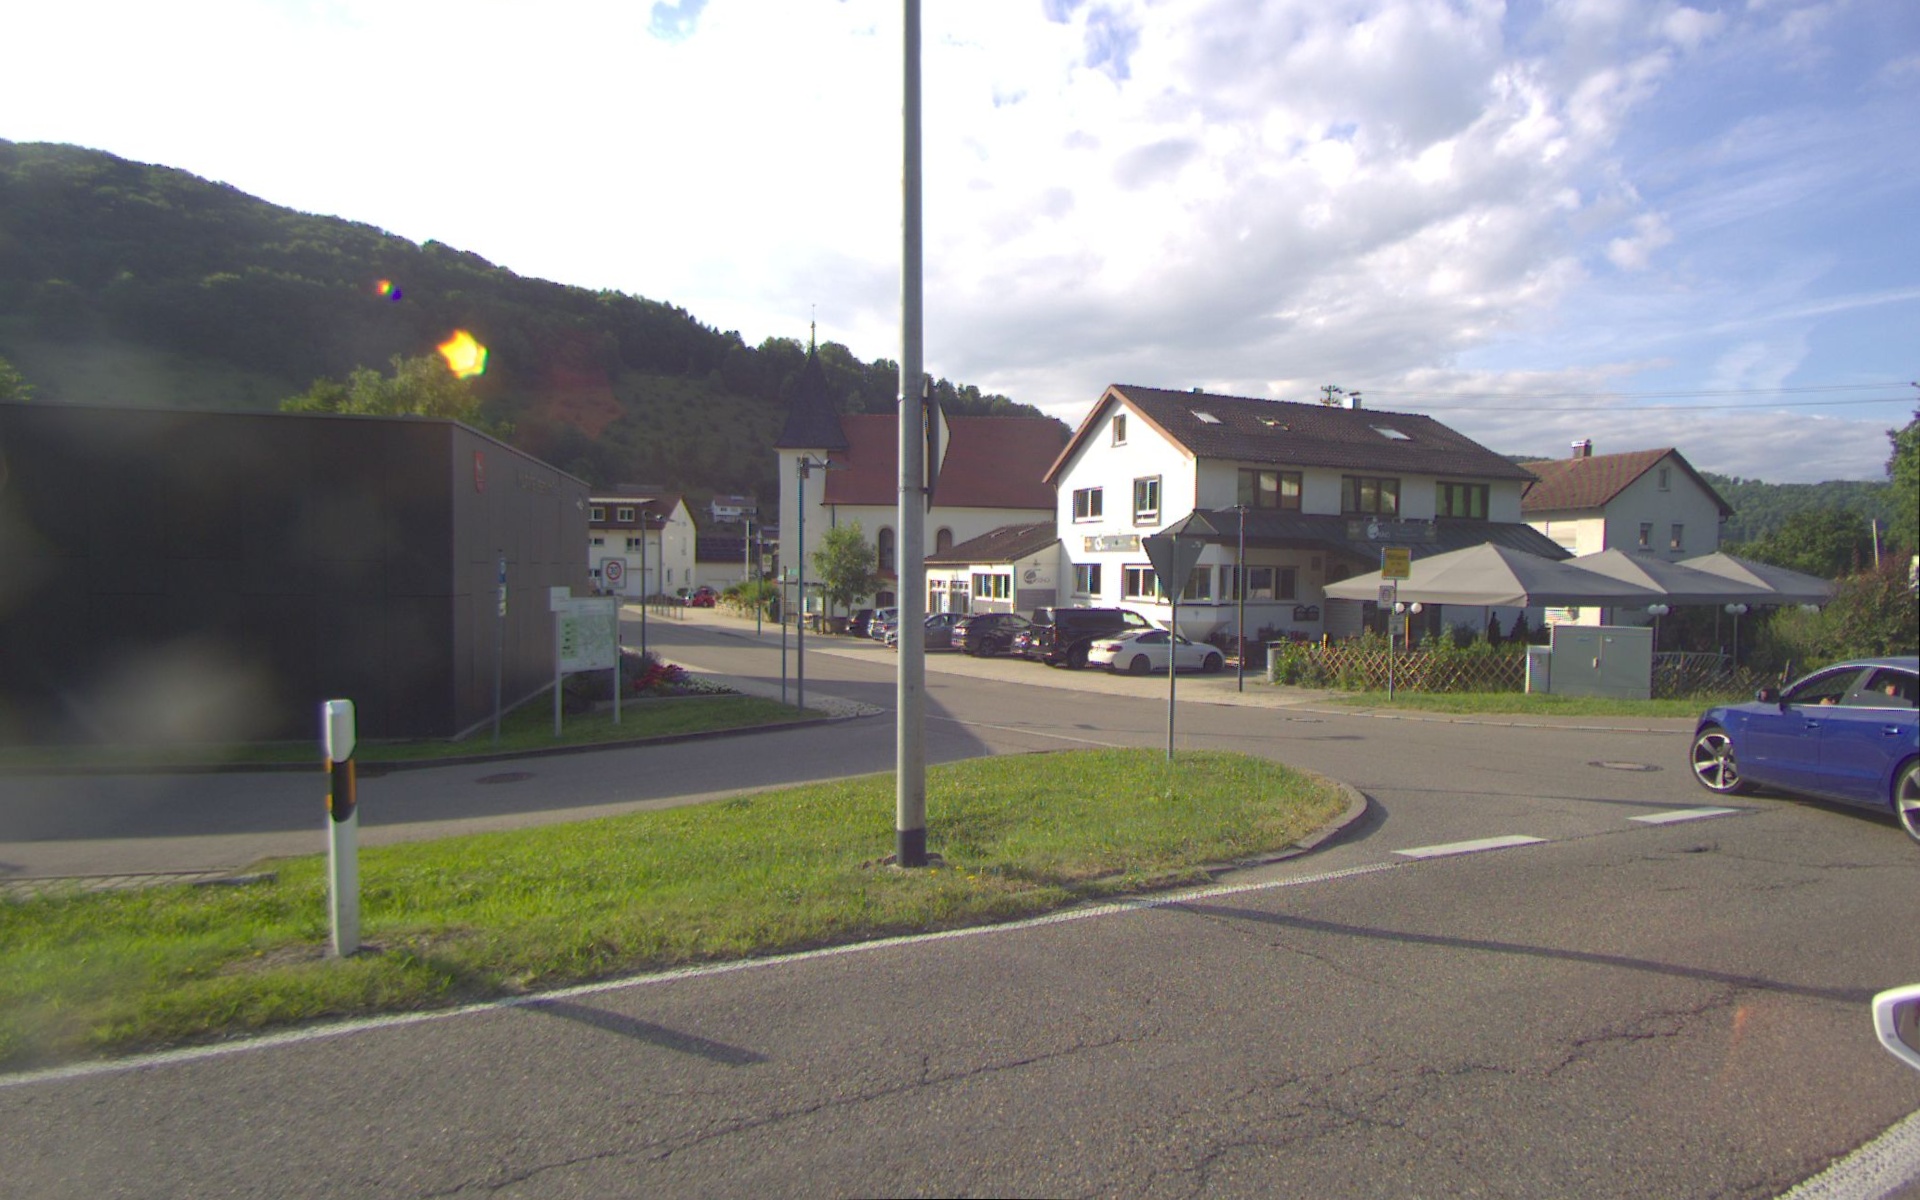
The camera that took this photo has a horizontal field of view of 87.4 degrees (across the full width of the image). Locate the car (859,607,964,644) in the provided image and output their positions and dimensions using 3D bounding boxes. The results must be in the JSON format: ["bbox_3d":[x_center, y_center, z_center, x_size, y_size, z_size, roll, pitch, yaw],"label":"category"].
[{"bbox_3d":[-2.281,1.200,47.181,4.516,1.665,1.987,2,-1,-26],"label":"car"}]

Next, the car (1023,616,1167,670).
[{"bbox_3d":[4.580,1.446,34.083,4.516,1.707,1.987,2,-1,-26],"label":"car"}]

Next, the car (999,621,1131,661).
[{"bbox_3d":[3.895,1.529,37.246,4.516,1.408,1.987,2,-1,-26],"label":"car"}]

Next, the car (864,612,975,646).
[{"bbox_3d":[-1.790,1.303,44.571,4.516,1.431,1.987,2,-1,-26],"label":"car"}]

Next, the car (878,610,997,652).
[{"bbox_3d":[-0.914,1.294,41.389,4.516,1.618,1.987,2,-1,-26],"label":"car"}]

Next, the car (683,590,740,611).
[{"bbox_3d":[-19.787,0.046,80.026,3.955,1.528,1.983,1,0,-31],"label":"car"}]

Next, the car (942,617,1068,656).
[{"bbox_3d":[1.758,1.429,39.190,4.516,1.431,1.987,2,-1,-26],"label":"car"}]

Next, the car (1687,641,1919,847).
[{"bbox_3d":[7.960,1.086,8.095,1.798,1.427,4.230,1,-1,11],"label":"car"}]

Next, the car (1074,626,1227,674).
[{"bbox_3d":[6.044,1.563,31.831,4.516,1.408,1.987,2,-1,-26],"label":"car"}]
